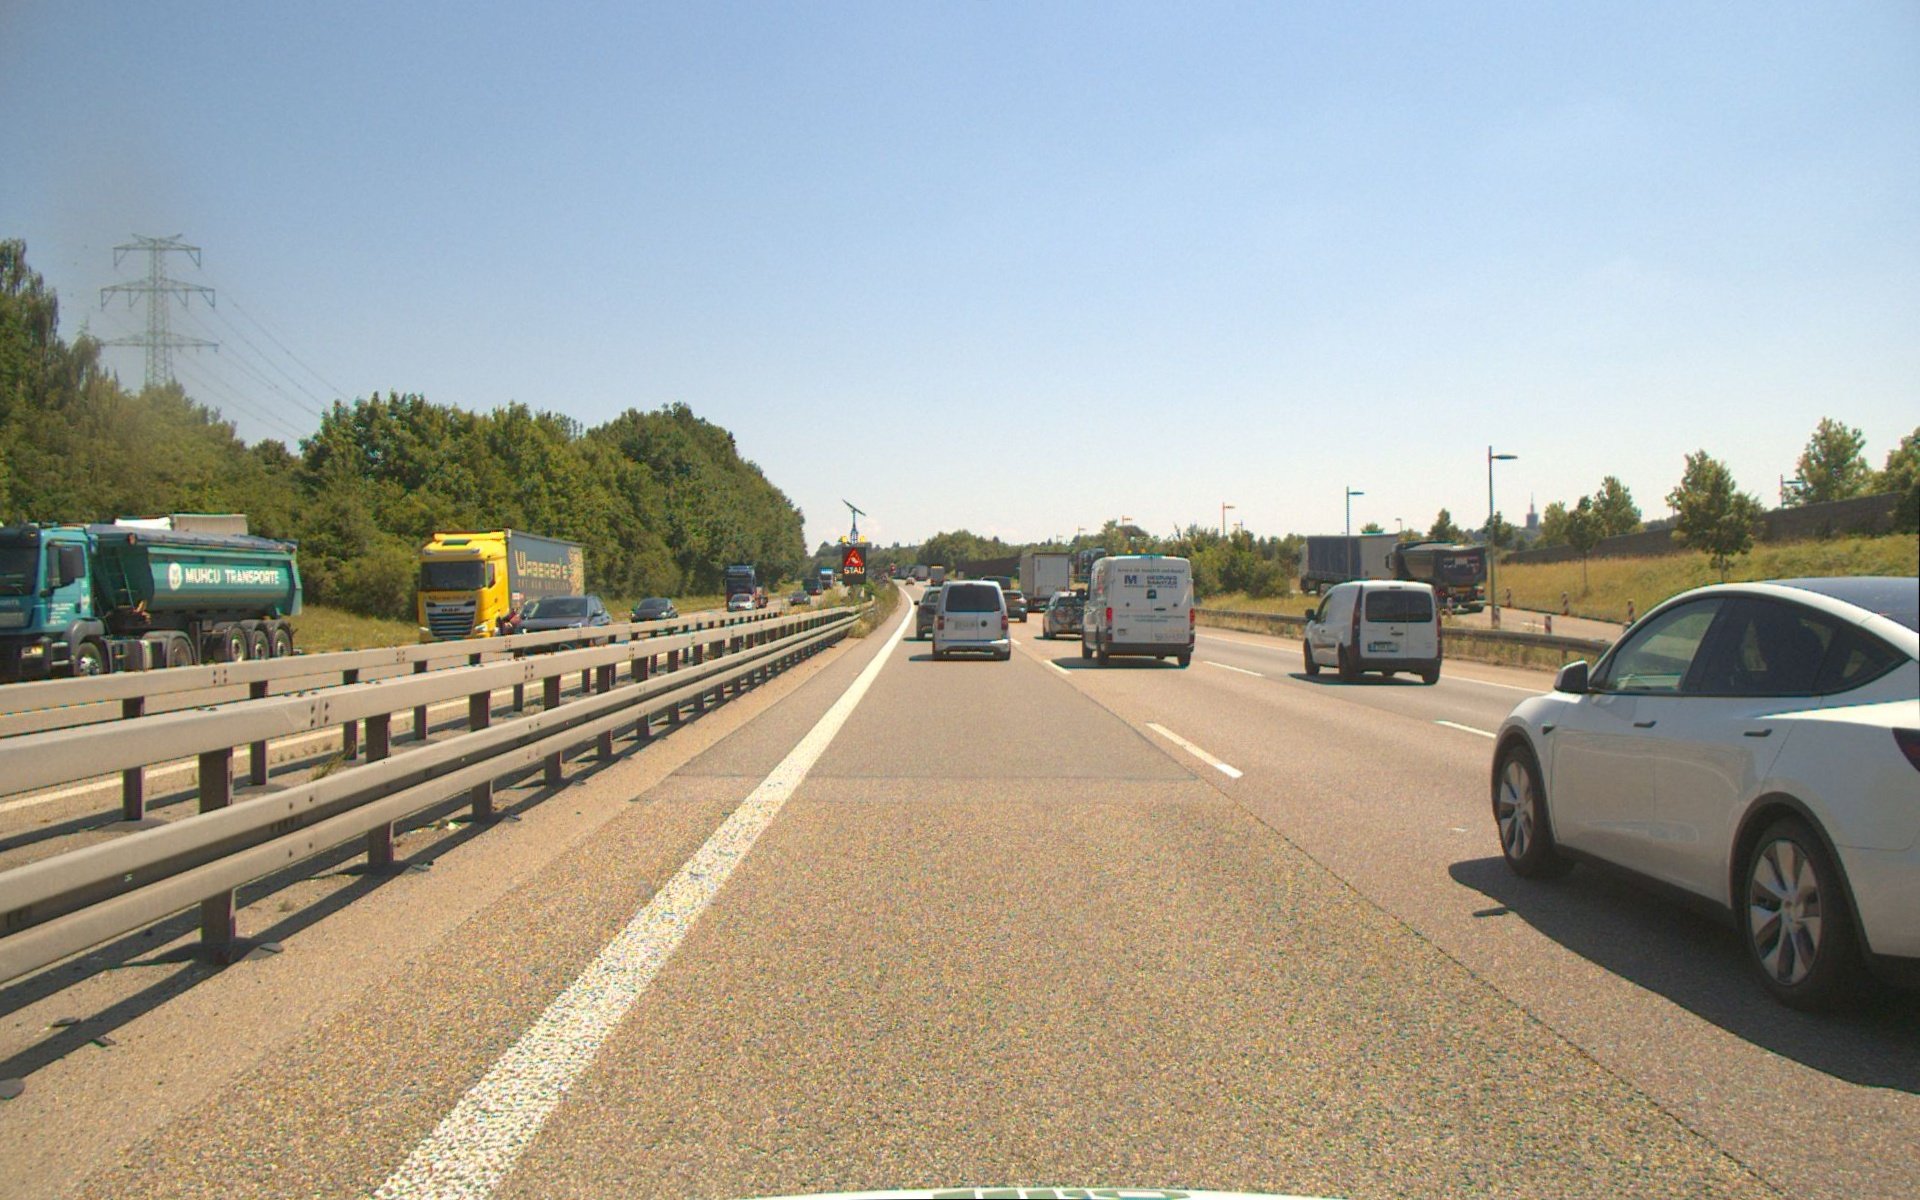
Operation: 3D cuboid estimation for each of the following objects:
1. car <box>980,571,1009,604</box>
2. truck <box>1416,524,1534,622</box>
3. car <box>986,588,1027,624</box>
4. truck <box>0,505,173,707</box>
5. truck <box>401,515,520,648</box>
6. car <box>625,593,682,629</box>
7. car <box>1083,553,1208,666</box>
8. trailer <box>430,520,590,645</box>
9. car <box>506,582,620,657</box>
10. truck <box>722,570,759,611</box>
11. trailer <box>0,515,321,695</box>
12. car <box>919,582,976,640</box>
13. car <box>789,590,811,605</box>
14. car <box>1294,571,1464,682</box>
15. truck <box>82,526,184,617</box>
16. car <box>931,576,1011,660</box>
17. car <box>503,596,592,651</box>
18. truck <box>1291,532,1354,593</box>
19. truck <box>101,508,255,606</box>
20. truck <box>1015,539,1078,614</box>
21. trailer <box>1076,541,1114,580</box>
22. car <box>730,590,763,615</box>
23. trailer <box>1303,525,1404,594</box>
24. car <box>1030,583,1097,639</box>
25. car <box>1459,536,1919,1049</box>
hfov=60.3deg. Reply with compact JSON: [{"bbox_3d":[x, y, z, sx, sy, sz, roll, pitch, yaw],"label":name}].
[{"bbox_3d":[2.058,-0.768,100.428,1.640,1.924,4.088,-1,0,0],"label":"car"},{"bbox_3d":[23.519,-1.160,76.252,3.707,4.154,12.529,1,0,10],"label":"truck"},{"bbox_3d":[2.312,0.298,82.718,1.863,1.701,4.088,-1,0,0],"label":"car"},{"bbox_3d":[-17.112,0.104,30.279,2.855,3.358,5.330,-1,0,-1],"label":"truck"},{"bbox_3d":[-17.222,-0.635,57.249,3.111,4.417,3.511,-1,0,-3],"label":"truck"},{"bbox_3d":[-13.763,0.473,74.538,1.677,1.494,4.147,-3,0,1],"label":"car"},{"bbox_3d":[3.995,0.179,36.542,2.137,2.293,5.363,0,0,0],"label":"car"},{"bbox_3d":[-17.591,-0.669,65.932,3.111,4.417,13.806,-1,0,-2],"label":"trailer"},{"bbox_3d":[-9.307,0.432,39.055,1.746,1.653,3.999,-1,0,-1],"label":"car"},{"bbox_3d":[-19.756,-0.845,149.067,2.935,3.621,3.117,-1,0,-2],"label":"truck"},{"bbox_3d":[-17.206,0.068,36.108,2.855,3.358,9.708,-1,0,-1],"label":"trailer"},{"bbox_3d":[-0.364,0.334,52.710,1.709,1.731,4.088,-1,0,0],"label":"car"},{"bbox_3d":[-15.841,-0.256,163.687,1.733,1.357,4.920,-2,1,-1],"label":"car"},{"bbox_3d":[7.672,0.449,30.697,1.911,1.870,4.176,-1,0,-2],"label":"car"},{"bbox_3d":[-37.678,-1.366,75.540,2.890,3.963,4.316,-1,2,-9],"label":"truck"},{"bbox_3d":[0.236,0.385,38.441,1.709,1.795,4.088,-1,0,0],"label":"car"},{"bbox_3d":[-13.074,0.715,52.694,1.746,1.557,4.383,-3,0,-1],"label":"car"},{"bbox_3d":[25.522,-2.563,116.732,2.990,4.154,6.397,1,0,-1],"label":"truck"},{"bbox_3d":[-38.849,-2.280,82.889,2.941,4.416,14.519,-1,3,-9],"label":"truck"},{"bbox_3d":[6.115,-1.607,119.079,3.711,5.087,12.517,1,0,0],"label":"truck"},{"bbox_3d":[16.610,-4.797,205.129,2.553,4.332,18.415,1,0,-2],"label":"trailer"},{"bbox_3d":[-14.514,0.188,112.795,1.746,1.557,3.882,-3,0,-1],"label":"car"},{"bbox_3d":[25.640,-2.512,108.700,2.990,4.154,14.255,1,0,-1],"label":"trailer"},{"bbox_3d":[3.391,0.335,54.877,1.935,1.763,4.088,-1,0,0],"label":"car"},{"bbox_3d":[4.035,0.628,7.210,1.911,1.665,5.599,1,0,-1],"label":"car"}]
